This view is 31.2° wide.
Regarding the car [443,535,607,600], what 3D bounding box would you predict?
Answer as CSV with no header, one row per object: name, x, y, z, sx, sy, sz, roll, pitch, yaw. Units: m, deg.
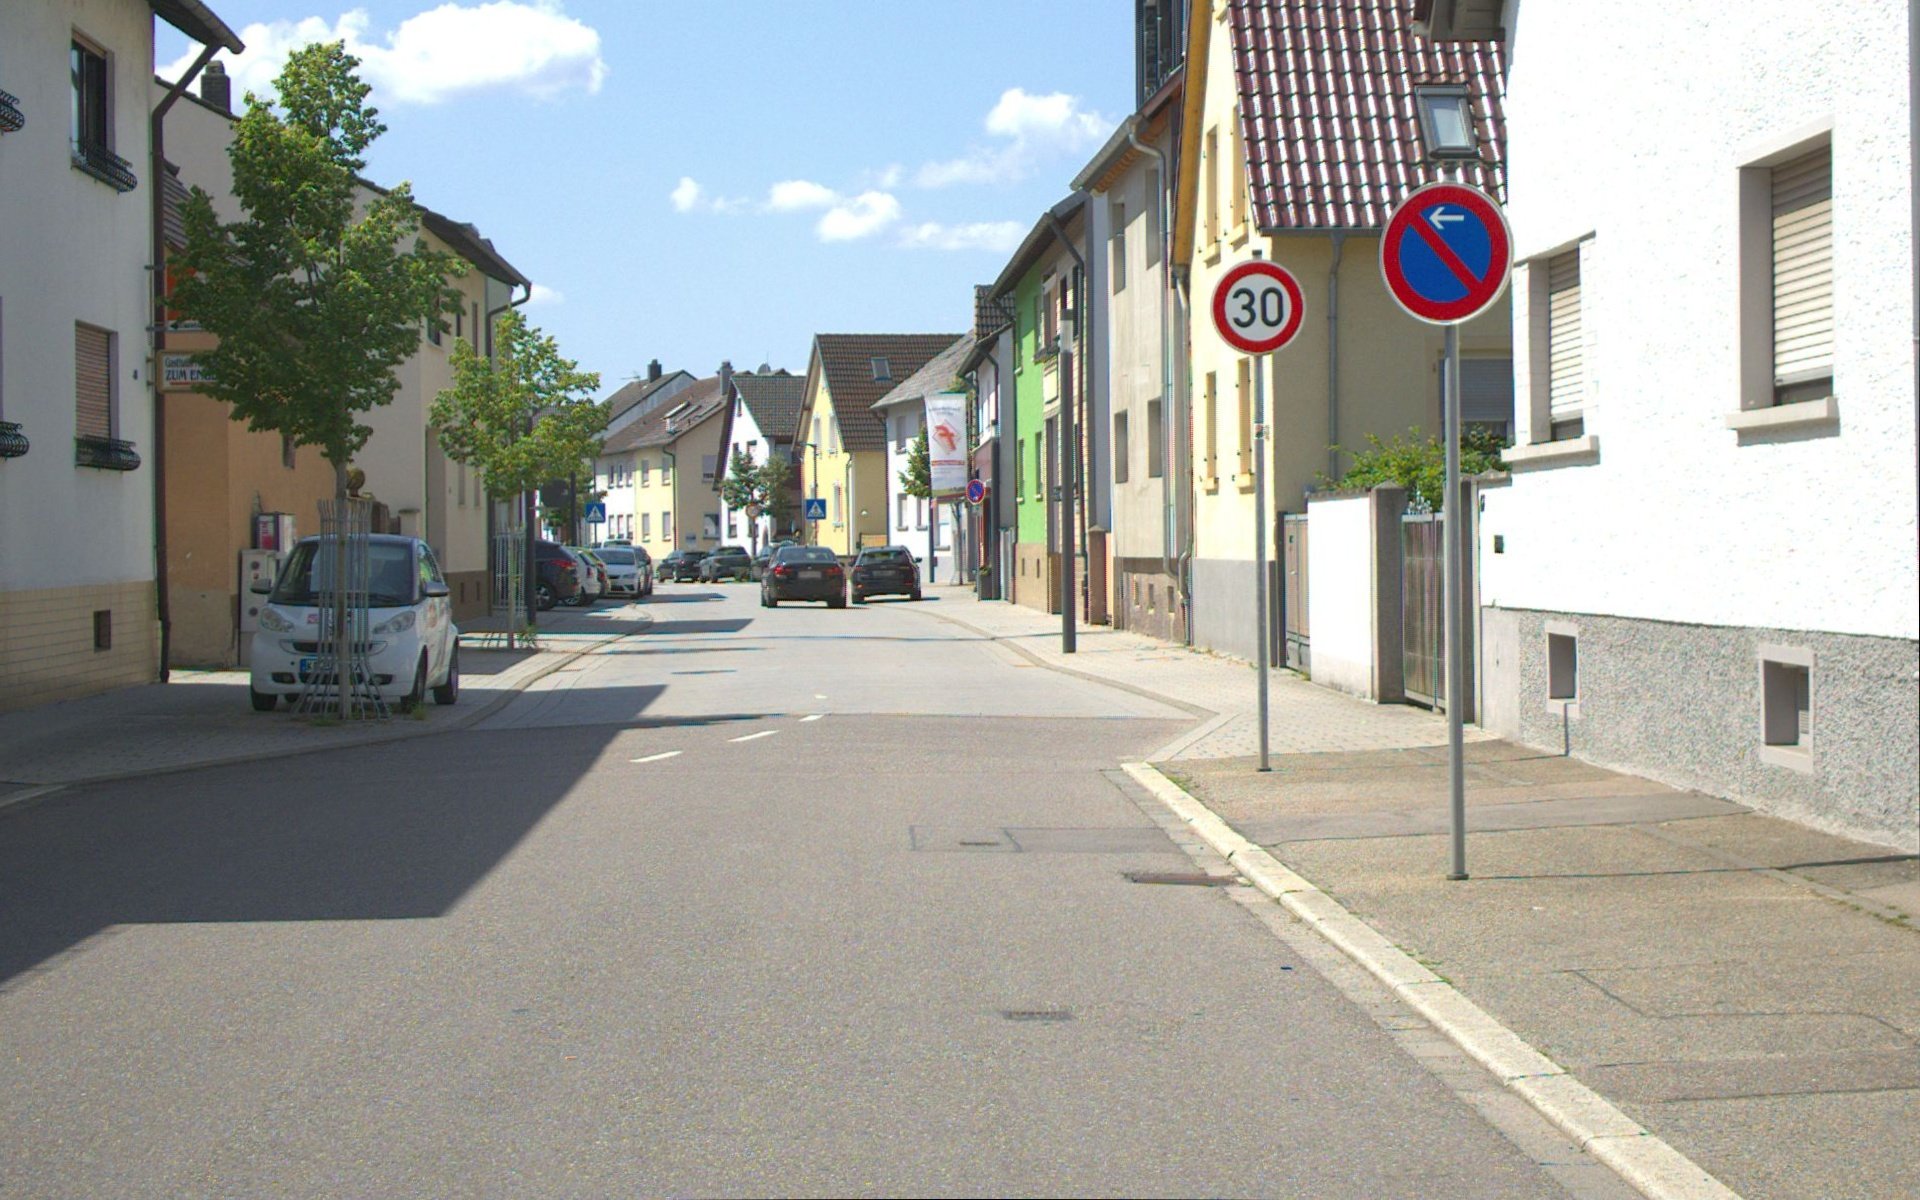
car,-10.955,-0.834,86.713,3.901,1.497,1.751,2,1,-1

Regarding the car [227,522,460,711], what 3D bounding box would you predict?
car,-5.446,0.120,30.636,1.572,1.556,2.822,2,1,-1

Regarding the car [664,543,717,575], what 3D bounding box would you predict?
car,-12.161,-1.843,155.004,1.710,1.382,3.707,-1,1,-14

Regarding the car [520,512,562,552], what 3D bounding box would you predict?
car,-21.777,-3.534,178.586,1.993,2.007,4.001,-1,1,-9

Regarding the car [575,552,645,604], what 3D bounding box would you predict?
car,-10.164,-0.649,100.086,1.757,1.406,3.878,1,1,-2

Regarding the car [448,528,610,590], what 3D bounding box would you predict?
car,-11.131,-1.071,89.024,3.986,1.437,1.691,2,1,-2

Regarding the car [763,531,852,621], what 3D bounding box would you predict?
car,-3.633,-0.596,81.260,1.993,2.051,4.375,-1,1,-3

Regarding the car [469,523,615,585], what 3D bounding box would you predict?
car,-11.167,-1.235,92.033,3.692,1.520,1.673,2,1,-2

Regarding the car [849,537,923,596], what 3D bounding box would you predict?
car,-1.962,-0.914,91.386,1.858,1.454,4.586,-2,1,-1

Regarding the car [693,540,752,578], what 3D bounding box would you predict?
car,-10.213,-1.766,147.606,1.846,1.557,3.695,-1,1,-14

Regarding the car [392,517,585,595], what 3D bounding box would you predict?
car,-10.775,-1.010,78.771,4.218,1.652,1.784,2,1,-3
